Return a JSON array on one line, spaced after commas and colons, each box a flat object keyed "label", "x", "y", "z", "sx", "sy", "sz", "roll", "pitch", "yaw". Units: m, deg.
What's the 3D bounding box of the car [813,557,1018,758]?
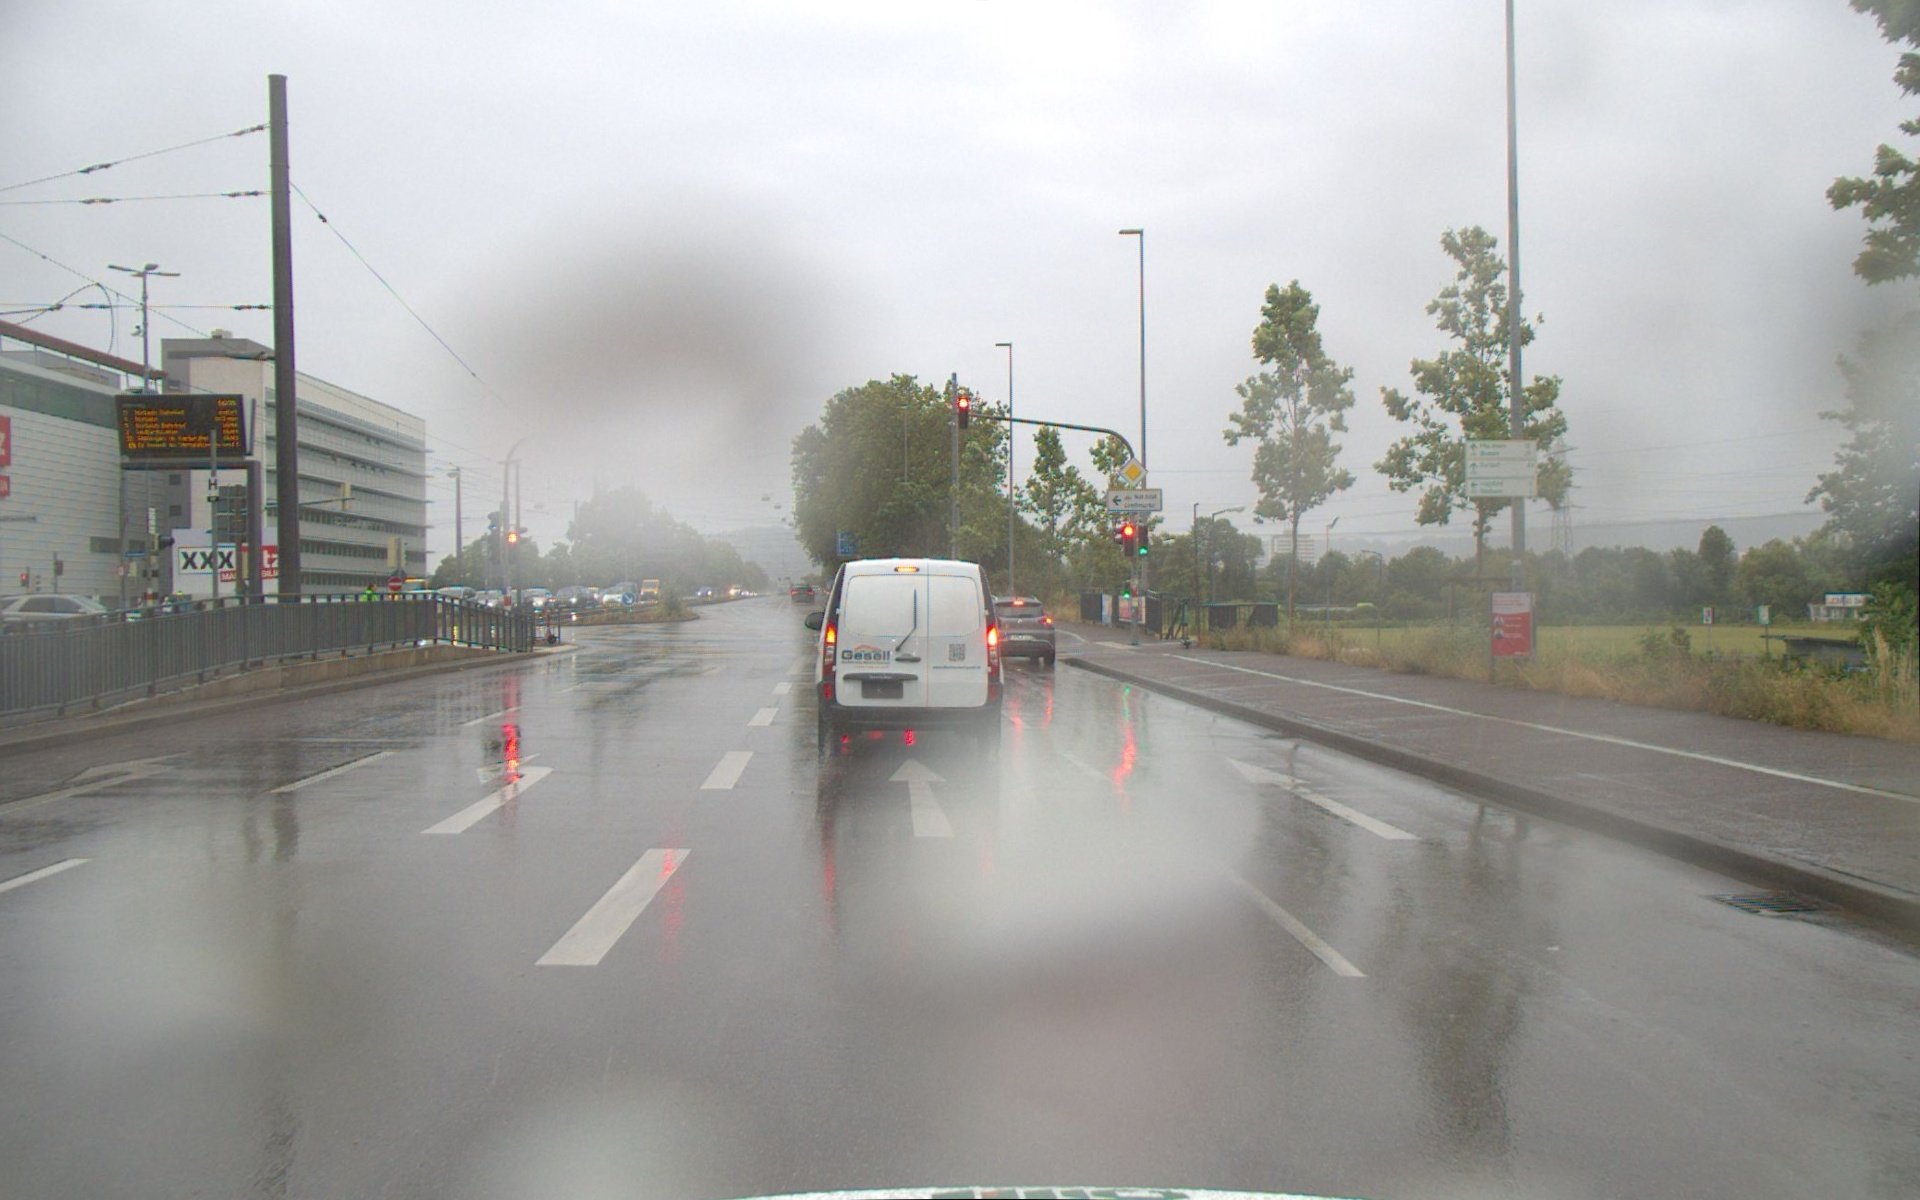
[{"label": "car", "x": -0.575, "y": 0.491, "z": 16.851, "sx": 1.720, "sy": 1.780, "sz": 4.163, "roll": 0, "pitch": 1, "yaw": -7}]

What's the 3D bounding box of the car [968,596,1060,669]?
[{"label": "car", "x": 1.150, "y": 0.699, "z": 37.093, "sx": 1.651, "sy": 1.534, "sz": 3.917, "roll": 1, "pitch": 0, "yaw": -4}]

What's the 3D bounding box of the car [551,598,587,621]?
[{"label": "car", "x": -26.263, "y": 0.682, "z": 111.199, "sx": 1.677, "sy": 1.451, "sz": 3.806, "roll": 2, "pitch": -1, "yaw": -3}]

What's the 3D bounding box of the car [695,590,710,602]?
[{"label": "car", "x": -33.643, "y": -0.559, "z": 215.763, "sx": 1.528, "sy": 1.451, "sz": 3.566, "roll": 2, "pitch": -1, "yaw": -3}]

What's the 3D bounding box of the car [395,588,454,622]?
[{"label": "car", "x": -24.971, "y": 0.254, "z": 77.218, "sx": 1.677, "sy": 1.451, "sz": 3.806, "roll": 2, "pitch": -1, "yaw": -3}]

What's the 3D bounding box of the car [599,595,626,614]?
[{"label": "car", "x": -28.485, "y": 0.396, "z": 135.642, "sx": 1.528, "sy": 1.451, "sz": 3.566, "roll": 2, "pitch": -1, "yaw": -3}]

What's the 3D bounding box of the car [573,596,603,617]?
[{"label": "car", "x": -27.272, "y": 0.503, "z": 121.444, "sx": 1.528, "sy": 1.451, "sz": 3.566, "roll": 2, "pitch": -1, "yaw": -3}]

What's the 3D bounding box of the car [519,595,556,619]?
[{"label": "car", "x": -26.494, "y": 0.456, "z": 103.867, "sx": 1.528, "sy": 1.451, "sz": 3.566, "roll": 2, "pitch": -1, "yaw": -3}]

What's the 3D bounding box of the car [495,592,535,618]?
[{"label": "car", "x": -26.189, "y": 0.314, "z": 97.391, "sx": 1.528, "sy": 1.451, "sz": 3.566, "roll": 2, "pitch": -1, "yaw": -3}]

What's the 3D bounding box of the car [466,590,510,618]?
[{"label": "car", "x": -25.741, "y": 0.221, "z": 90.329, "sx": 1.528, "sy": 1.451, "sz": 3.566, "roll": 2, "pitch": -1, "yaw": -3}]

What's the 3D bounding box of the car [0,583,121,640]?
[{"label": "car", "x": -29.139, "y": 0.347, "z": 52.102, "sx": 4.371, "sy": 1.691, "sz": 1.948, "roll": 2, "pitch": -1, "yaw": -12}]

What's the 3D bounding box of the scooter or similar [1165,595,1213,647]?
[{"label": "scooter or similar", "x": 5.748, "y": 0.503, "z": 41.612, "sx": 0.676, "sy": 1.232, "sz": 3.019, "roll": -1, "pitch": 0, "yaw": -2}]

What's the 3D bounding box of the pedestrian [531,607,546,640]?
[{"label": "pedestrian", "x": -11.799, "y": 0.662, "z": 46.289, "sx": 0.309, "sy": 0.913, "sz": 0.380, "roll": 2, "pitch": 0, "yaw": -5}]
